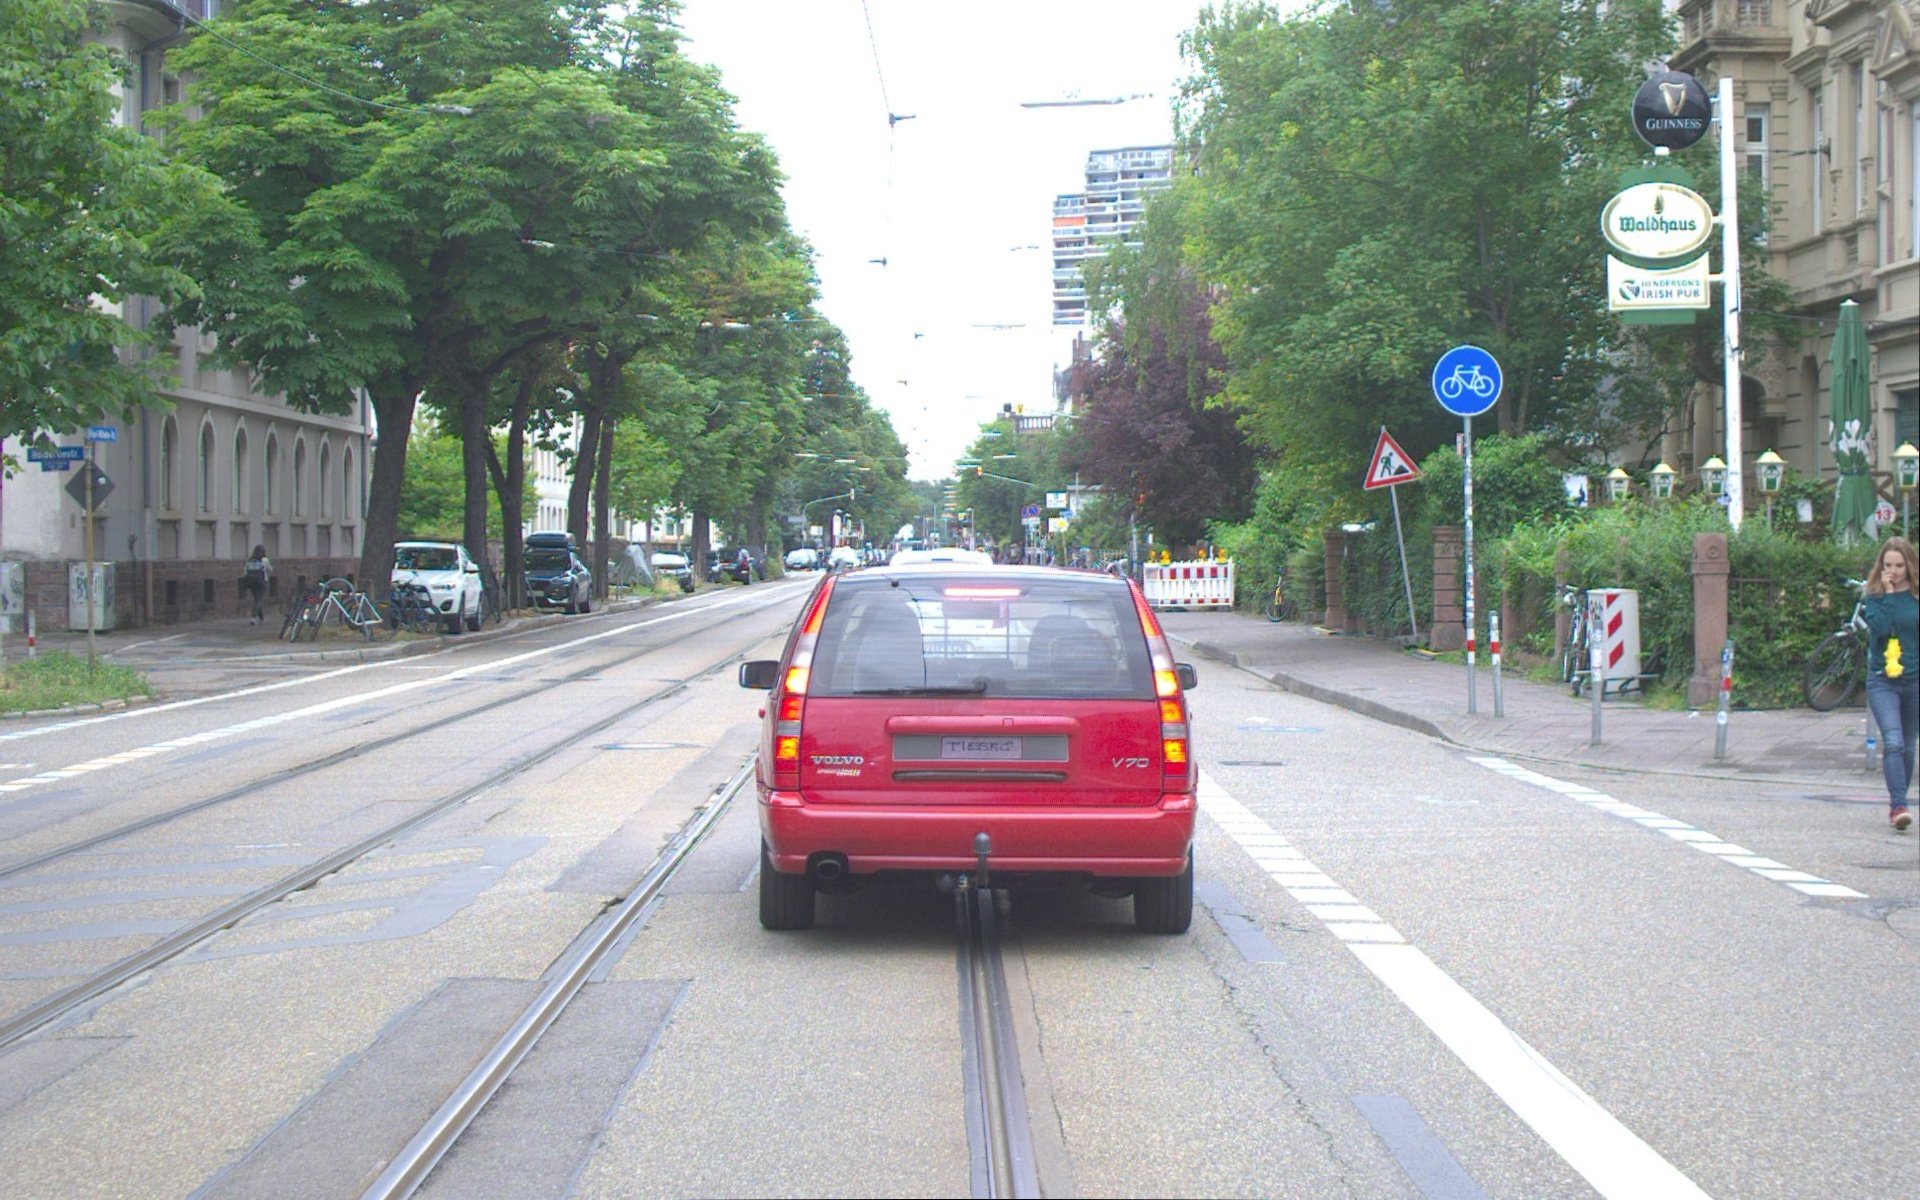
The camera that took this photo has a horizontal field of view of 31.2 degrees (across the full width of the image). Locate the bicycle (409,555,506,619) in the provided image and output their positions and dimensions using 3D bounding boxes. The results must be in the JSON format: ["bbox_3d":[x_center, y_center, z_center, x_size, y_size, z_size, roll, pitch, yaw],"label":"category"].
[{"bbox_3d":[-9.906,-0.267,67.751,1.744,1.188,0.652,2,1,14],"label":"bicycle"}]

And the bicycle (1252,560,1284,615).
[{"bbox_3d":[5.915,-0.252,66.037,0.479,1.041,1.531,0,1,0],"label":"bicycle"}]

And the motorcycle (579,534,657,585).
[{"bbox_3d":[-10.287,-1.218,103.329,2.269,1.506,0.925,0,-1,35],"label":"motorcycle"}]

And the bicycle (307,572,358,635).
[{"bbox_3d":[-9.646,0.048,52.859,0.483,0.955,1.397,0,1,2],"label":"bicycle"}]

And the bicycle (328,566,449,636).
[{"bbox_3d":[-9.676,0.012,58.241,1.922,1.117,0.624,2,1,0],"label":"bicycle"}]

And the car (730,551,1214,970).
[{"bbox_3d":[0.029,0.543,14.067,1.689,1.436,3.743,1,1,0],"label":"car"}]

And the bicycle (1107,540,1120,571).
[{"bbox_3d":[7.084,-2.069,158.782,0.551,1.395,1.734,0,1,0],"label":"bicycle"}]

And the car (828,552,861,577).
[{"bbox_3d":[-6.265,-1.940,186.439,1.755,1.375,4.027,0,1,-1],"label":"car"}]

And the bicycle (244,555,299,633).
[{"bbox_3d":[-10.698,-0.104,53.380,0.674,1.132,1.937,-1,2,-16],"label":"bicycle"}]

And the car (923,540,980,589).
[{"bbox_3d":[-0.293,-1.205,115.396,1.741,1.600,4.000,0,1,-2],"label":"car"}]

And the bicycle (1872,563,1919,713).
[{"bbox_3d":[8.678,0.325,29.521,1.605,1.273,0.513,0,1,11],"label":"bicycle"}]

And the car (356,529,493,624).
[{"bbox_3d":[-9.654,-0.441,62.254,1.897,1.650,4.226,1,1,-1],"label":"car"}]

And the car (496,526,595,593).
[{"bbox_3d":[-9.760,-0.968,81.180,1.777,1.505,4.237,1,1,1],"label":"car"}]

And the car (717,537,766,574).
[{"bbox_3d":[-9.404,-1.908,148.279,1.851,1.558,3.943,0,1,0],"label":"car"}]

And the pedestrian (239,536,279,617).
[{"bbox_3d":[-12.667,-0.431,62.118,0.564,1.462,0.723,0,1,0],"label":"pedestrian"}]

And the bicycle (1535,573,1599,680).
[{"bbox_3d":[6.212,0.256,35.232,0.301,1.038,1.848,0,1,0],"label":"bicycle"}]

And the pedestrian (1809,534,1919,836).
[{"bbox_3d":[5.226,0.455,19.264,0.873,1.650,0.908,0,1,12],"label":"pedestrian"}]

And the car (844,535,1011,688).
[{"bbox_3d":[-0.314,0.095,38.597,1.719,1.619,3.941,0,1,2],"label":"car"}]
